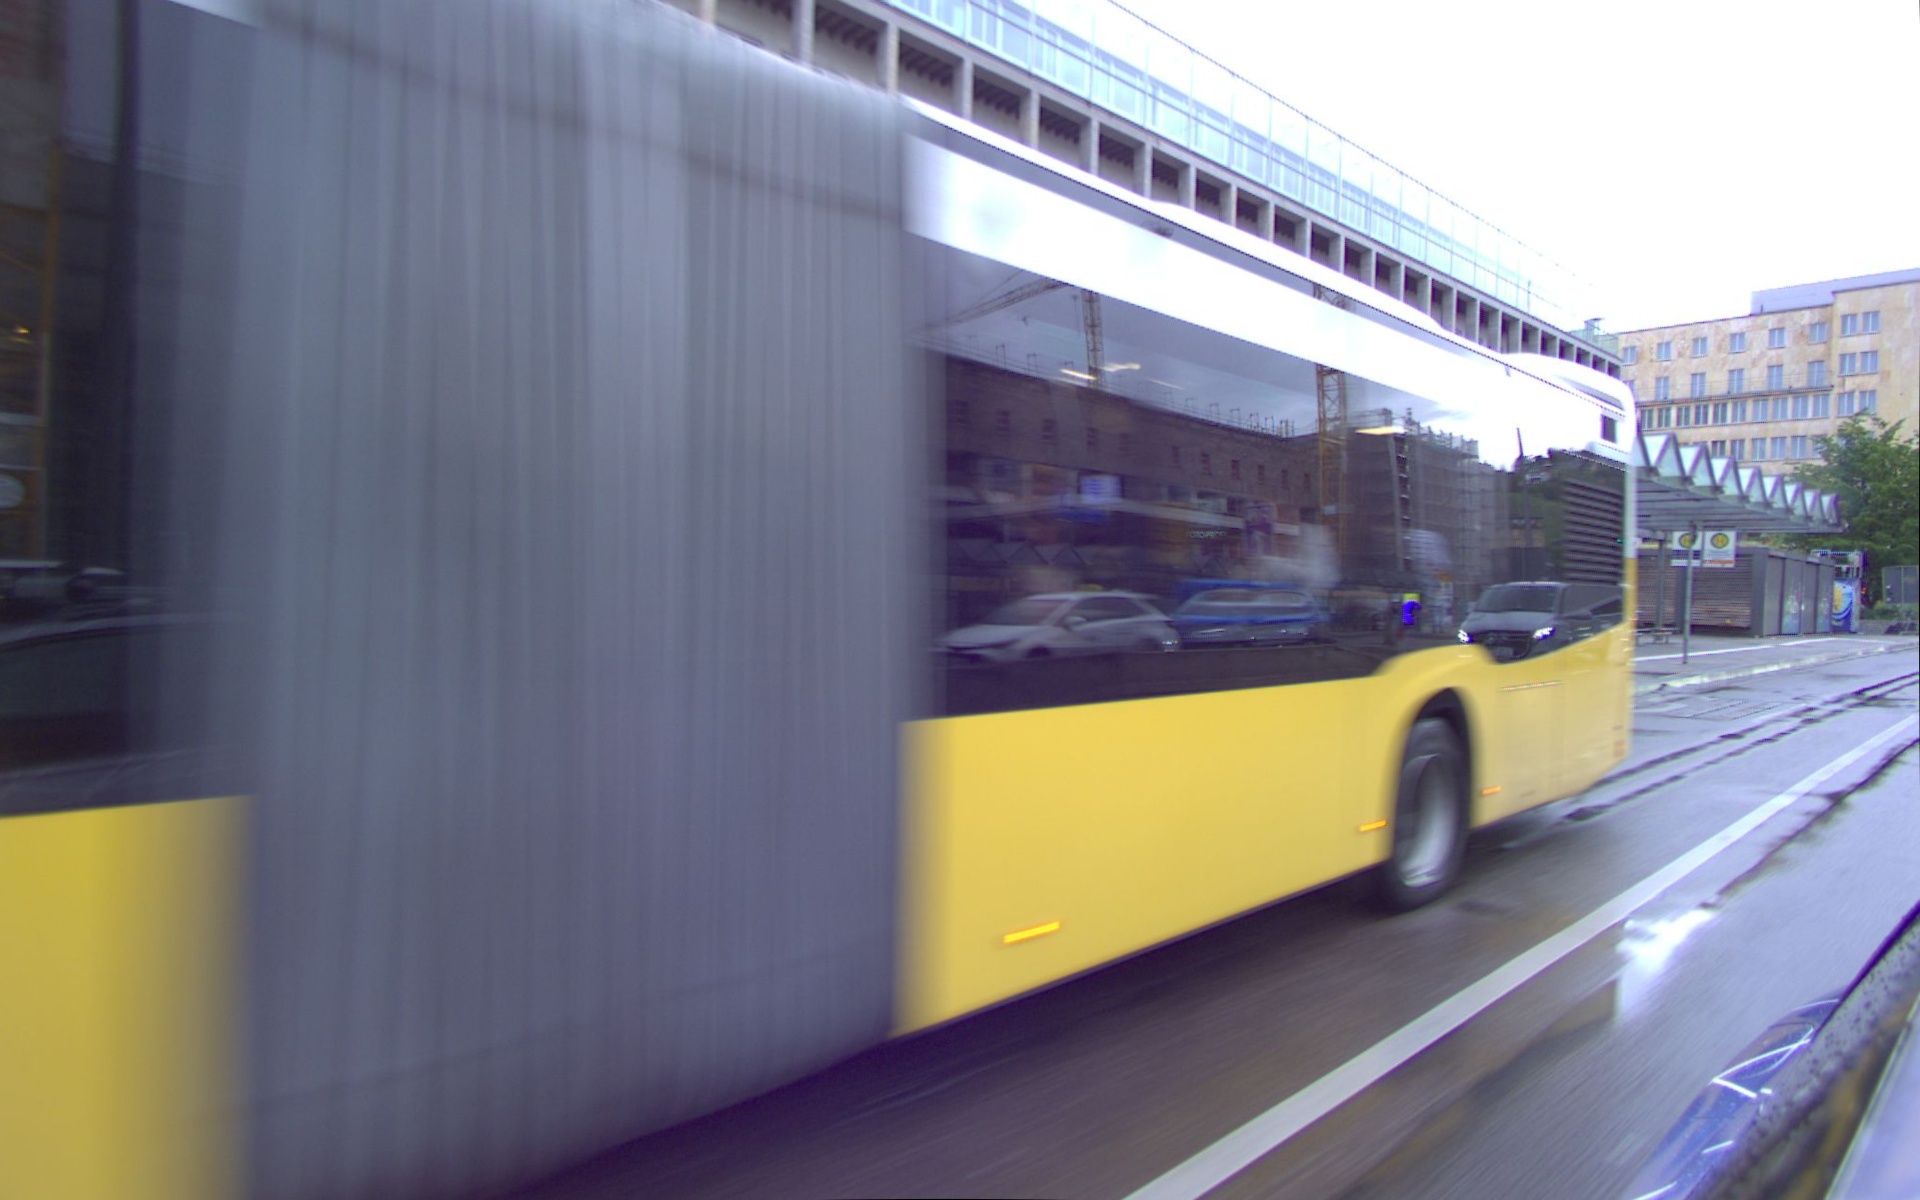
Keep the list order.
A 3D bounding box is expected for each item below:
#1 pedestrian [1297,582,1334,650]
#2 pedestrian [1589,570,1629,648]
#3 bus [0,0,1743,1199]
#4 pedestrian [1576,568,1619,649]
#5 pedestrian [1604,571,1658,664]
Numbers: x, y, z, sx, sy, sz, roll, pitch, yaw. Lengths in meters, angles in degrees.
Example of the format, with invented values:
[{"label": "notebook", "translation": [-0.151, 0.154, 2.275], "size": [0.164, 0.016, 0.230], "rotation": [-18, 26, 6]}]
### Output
[{"label": "pedestrian", "translation": [7.502, 0.324, 21.348], "size": [0.500, 1.395, 0.552], "rotation": [1, 1, -45]}, {"label": "pedestrian", "translation": [15.792, 0.205, 24.630], "size": [0.630, 1.859, 0.629], "rotation": [1, 1, -38]}, {"label": "bus", "translation": [1.019, -0.180, 5.327], "size": [8.974, 3.288, 3.147], "rotation": [-1, 1, -40]}, {"label": "pedestrian", "translation": [14.922, 0.196, 23.701], "size": [0.563, 1.859, 0.677], "rotation": [1, 1, -38]}, {"label": "pedestrian", "translation": [12.852, 0.319, 19.404], "size": [0.755, 1.711, 0.989], "rotation": [1, 1, 29]}]
